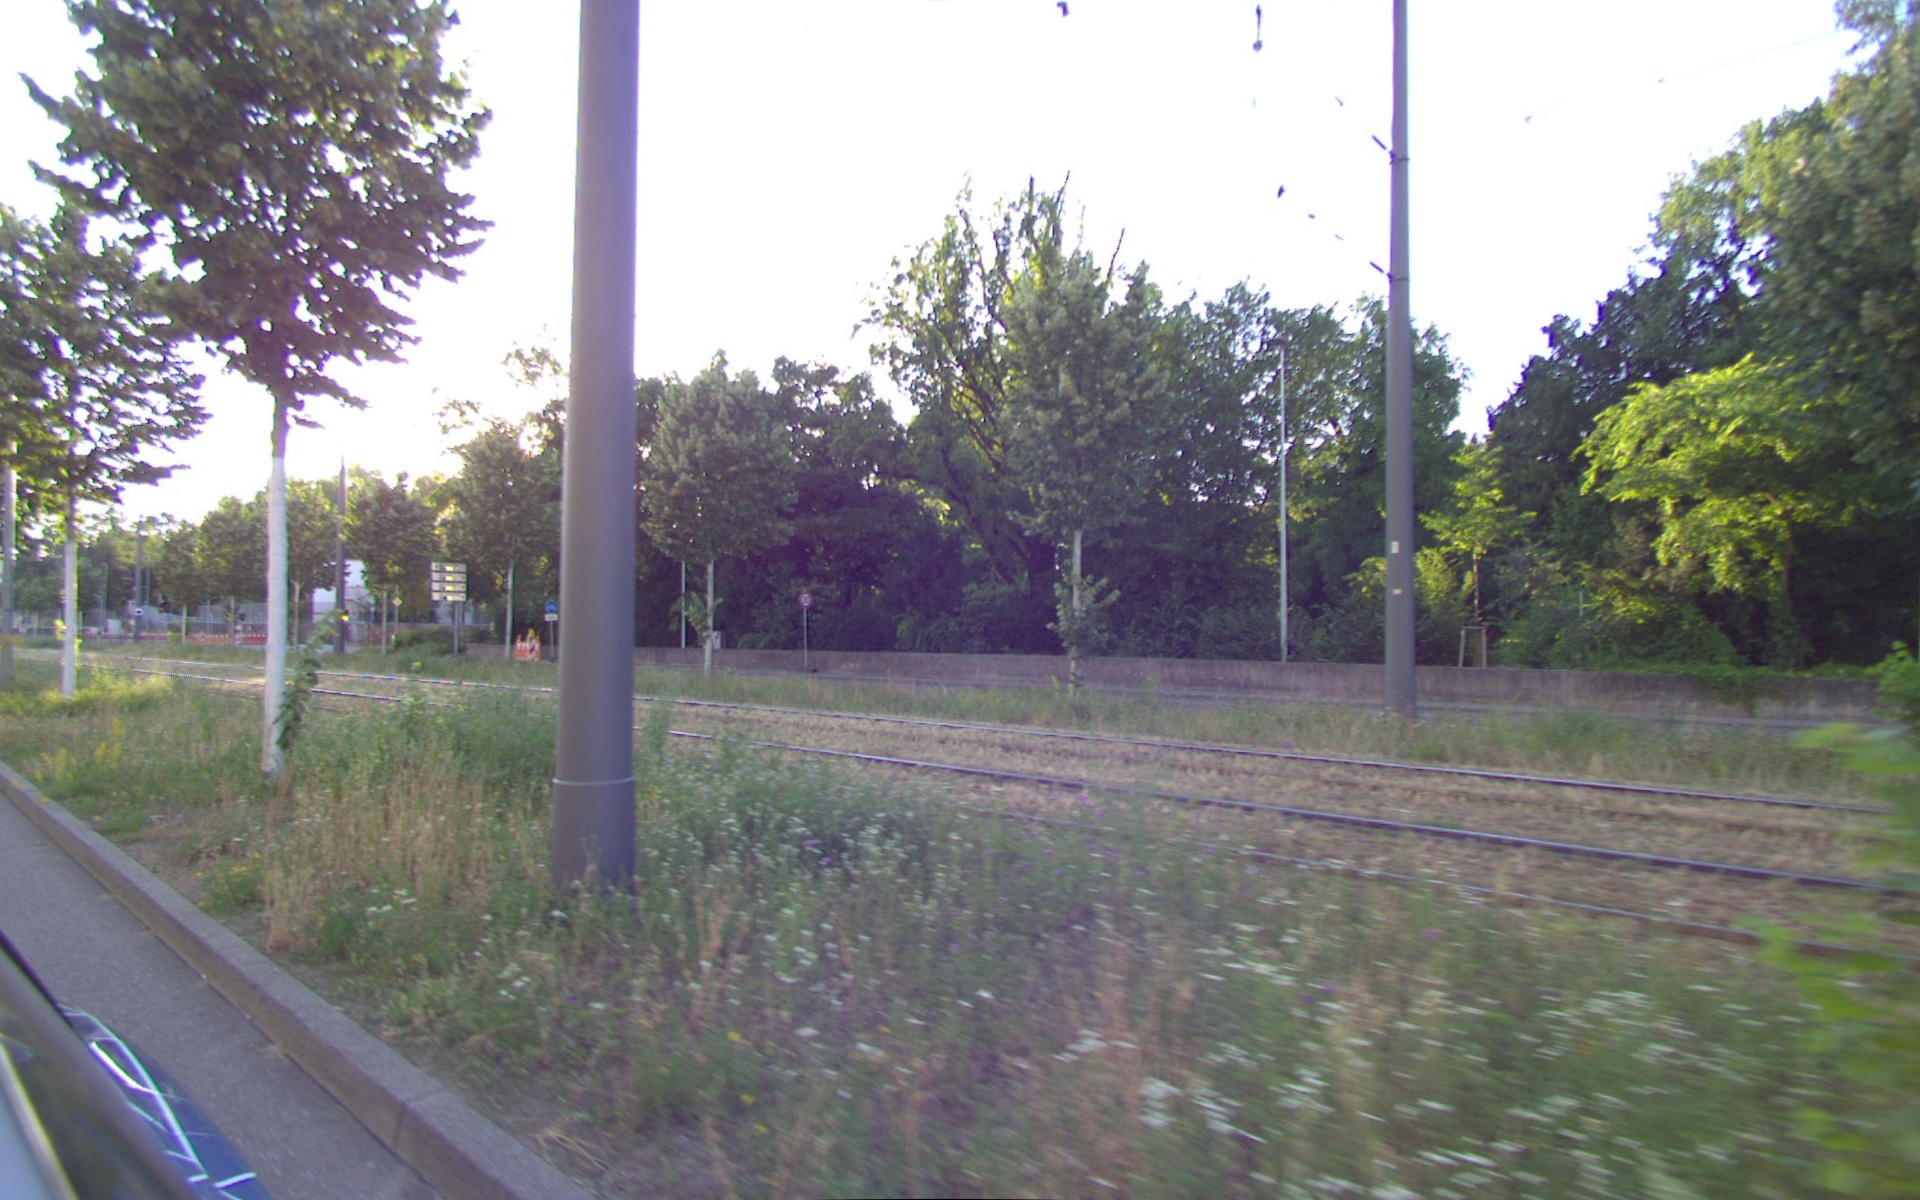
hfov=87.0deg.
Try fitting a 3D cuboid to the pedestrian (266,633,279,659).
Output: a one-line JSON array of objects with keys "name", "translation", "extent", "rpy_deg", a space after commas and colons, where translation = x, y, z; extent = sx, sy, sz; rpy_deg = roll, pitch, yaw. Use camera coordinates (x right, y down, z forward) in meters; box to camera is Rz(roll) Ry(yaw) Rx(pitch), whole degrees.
[{"name": "pedestrian", "translation": [-44.541, 2.976, 65.595], "extent": [0.660, 1.620, 0.679], "rpy_deg": [-1, -5, -35]}]
